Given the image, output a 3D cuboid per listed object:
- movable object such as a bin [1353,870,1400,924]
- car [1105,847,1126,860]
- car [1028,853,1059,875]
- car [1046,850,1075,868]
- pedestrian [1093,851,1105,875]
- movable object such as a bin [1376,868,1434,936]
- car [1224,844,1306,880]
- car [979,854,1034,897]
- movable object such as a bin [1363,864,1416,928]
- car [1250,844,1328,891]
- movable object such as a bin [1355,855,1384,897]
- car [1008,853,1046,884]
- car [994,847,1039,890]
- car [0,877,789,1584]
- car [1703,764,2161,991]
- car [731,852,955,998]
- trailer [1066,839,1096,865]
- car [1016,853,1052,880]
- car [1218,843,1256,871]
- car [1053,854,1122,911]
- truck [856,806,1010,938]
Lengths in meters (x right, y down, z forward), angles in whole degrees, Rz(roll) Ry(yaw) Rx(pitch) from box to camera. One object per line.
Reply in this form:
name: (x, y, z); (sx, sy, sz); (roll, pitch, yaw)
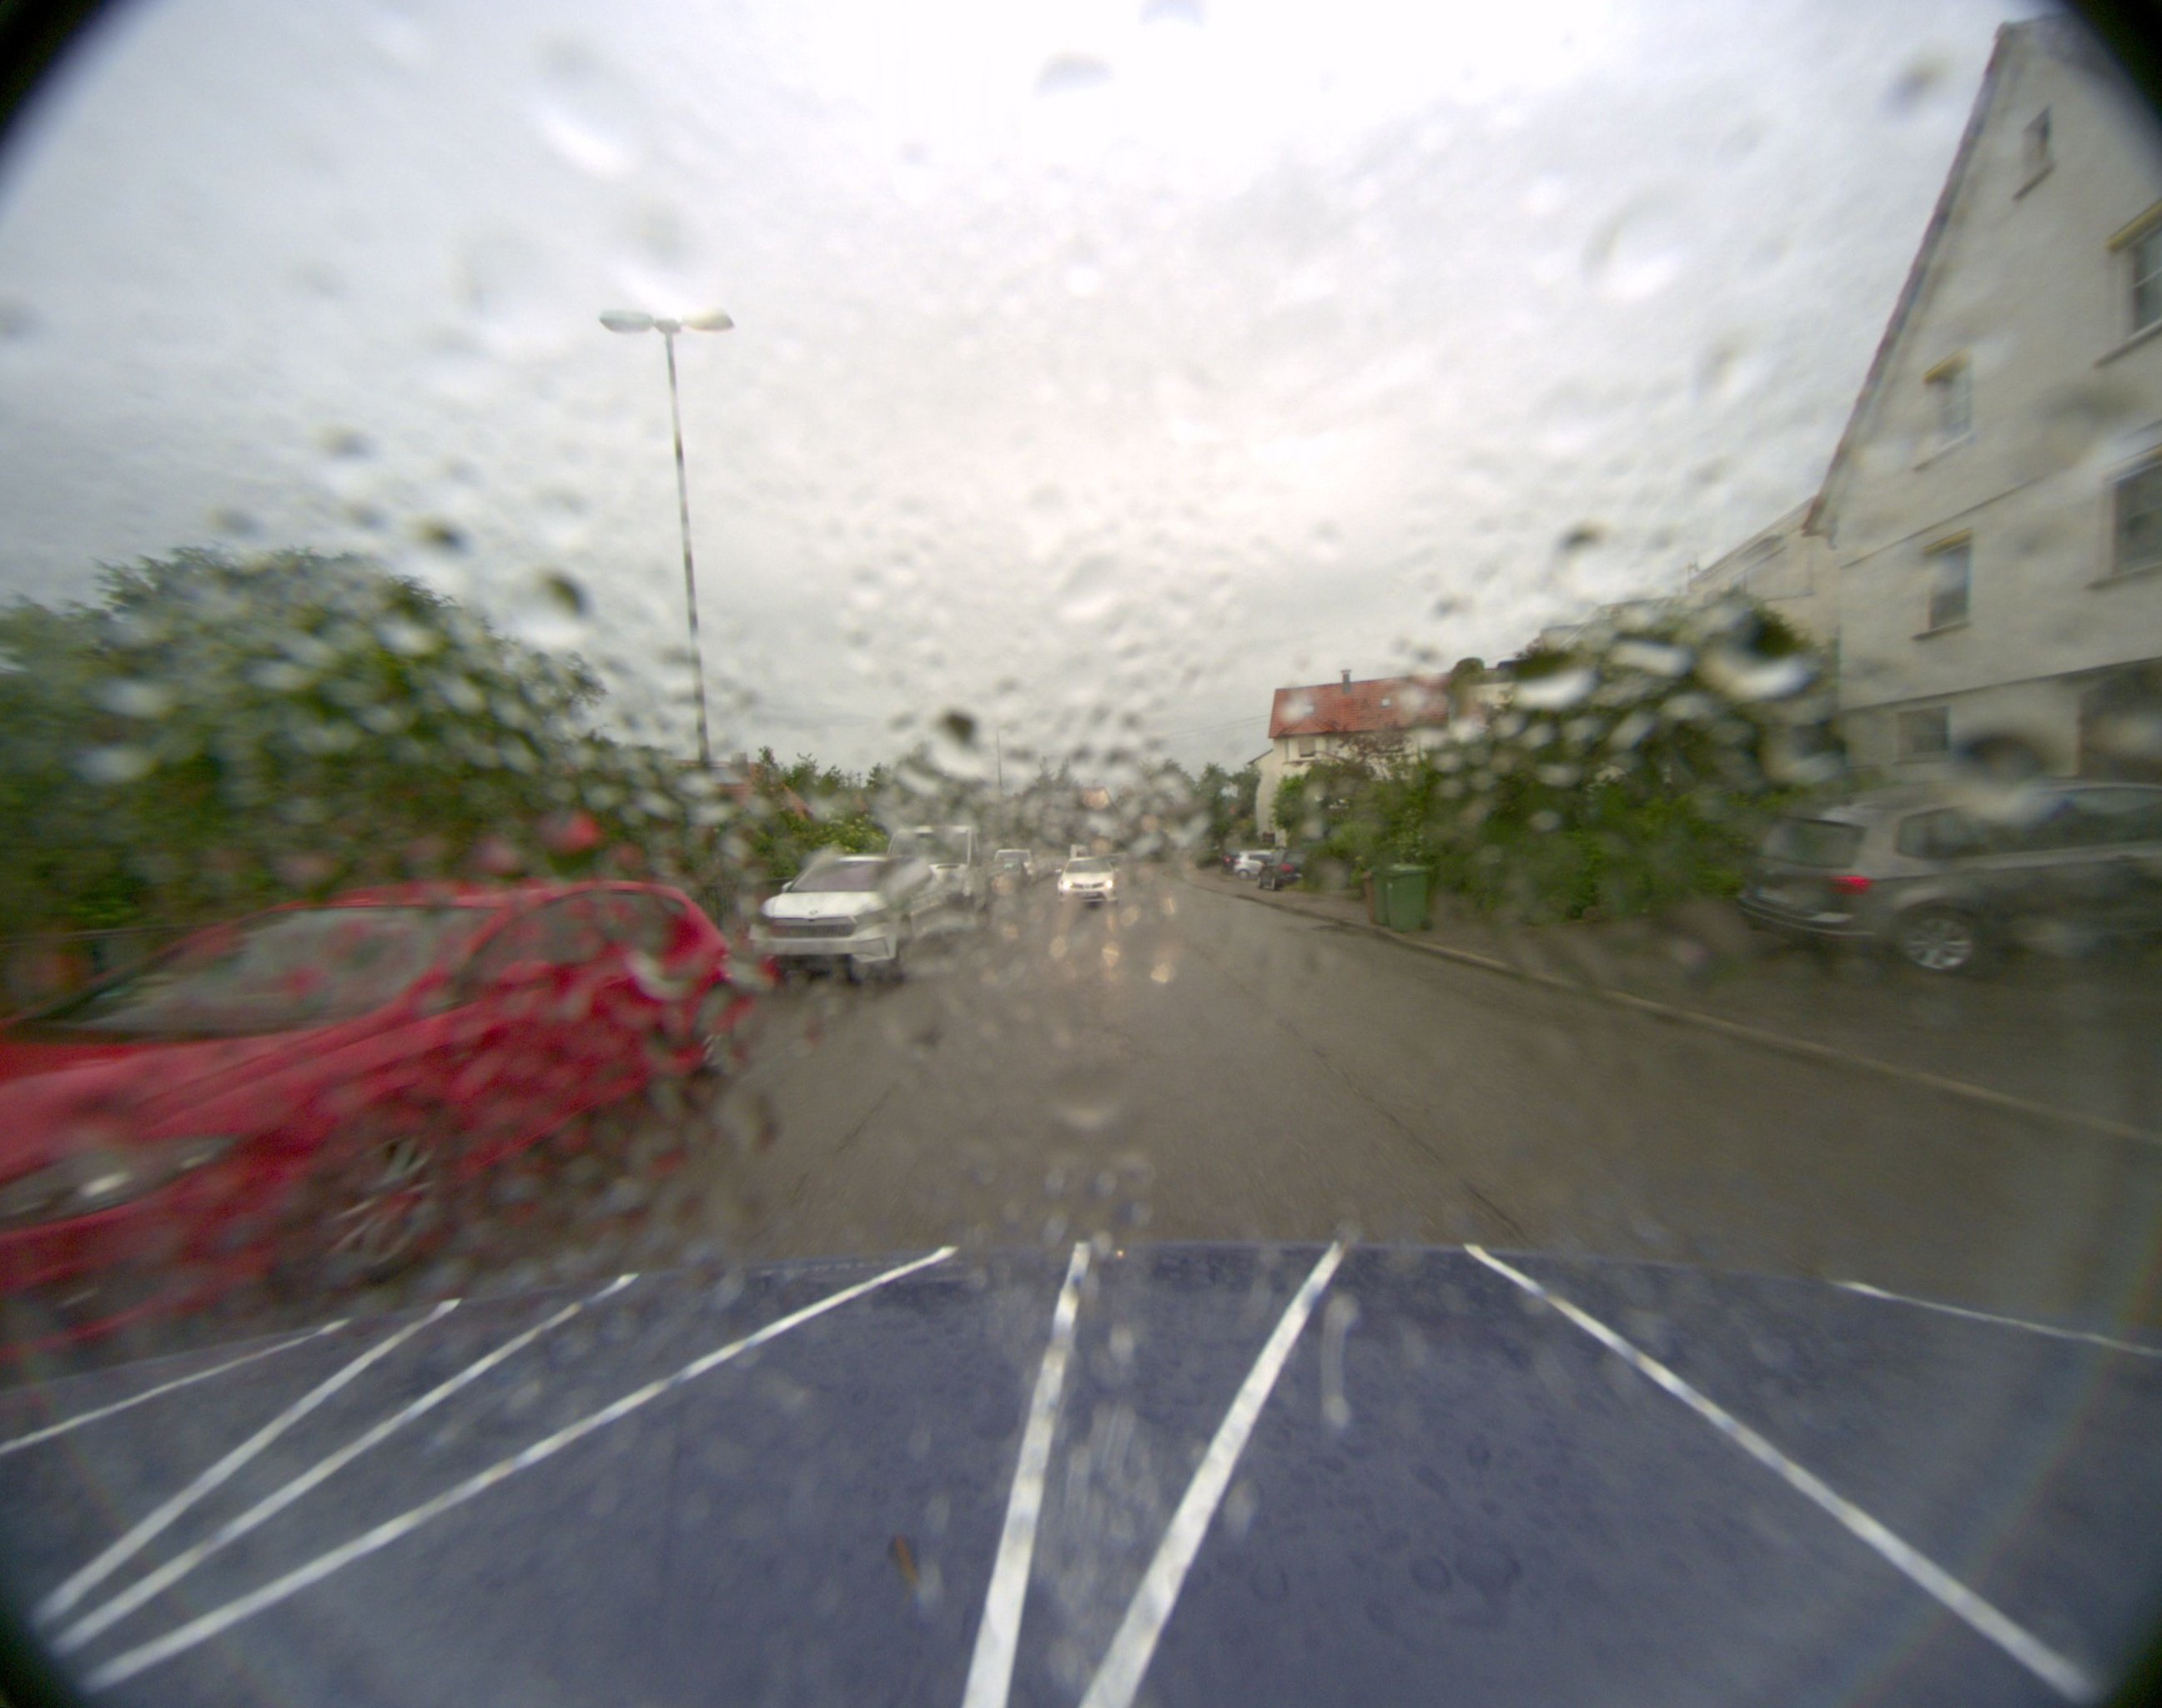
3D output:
movable object such as a bin: (5.466, 0.785, 14.070); (0.604, 0.923, 0.564); (-3, 1, -4)
car: (4.180, -0.038, 91.005); (1.635, 1.448, 3.705); (-1, 1, 17)
car: (-2.606, 0.695, 53.422); (1.739, 1.406, 3.852); (-1, 1, 3)
car: (-1.720, 0.395, 64.925); (1.796, 1.451, 4.790); (-1, 1, 6)
pedestrian: (1.204, 0.595, 50.782); (0.718, 1.626, 0.707); (-1, 1, 2)
movable object such as a bin: (5.401, 0.780, 12.690); (0.604, 1.057, 0.698); (-3, 1, -3)
car: (9.303, 0.376, 38.347); (3.831, 1.470, 1.805); (5, 3, 15)
car: (-2.971, 0.815, 30.947); (1.652, 1.554, 3.963); (-1, 1, 2)
movable object such as a bin: (5.431, 0.726, 13.419); (0.604, 1.057, 0.638); (-3, 1, -4)
car: (7.869, 0.446, 29.111); (1.807, 1.588, 4.417); (-1, 1, 1)
movable object such as a bin: (7.692, 0.588, 20.281); (0.698, 1.076, 0.710); (-1, 1, 20)
car: (-3.006, 0.759, 42.749); (1.648, 1.532, 4.353); (-1, 1, 2)
car: (-3.008, 0.622, 36.514); (1.854, 1.871, 4.909); (-1, 1, -2)
car: (-3.460, 0.970, 4.073); (1.836, 1.429, 4.985); (-1, 1, 0)
car: (8.767, 0.150, 7.107); (4.061, 1.682, 1.895); (-6, 1, 14)
car: (-3.133, 0.813, 11.109); (1.764, 1.595, 4.665); (-1, 1, 0)
trailer: (0.048, -0.273, 75.827); (1.952, 2.442, 5.438); (-1, 1, 10)
car: (-2.918, 0.729, 47.817); (1.820, 1.498, 4.724); (-1, 1, 2)
car: (8.834, 0.130, 43.289); (1.769, 1.368, 4.249); (-5, 1, 8)
car: (0.270, 0.807, 23.458); (1.863, 1.370, 4.180); (-3, 2, 2)
truck: (-3.302, 0.316, 18.622); (2.244, 2.616, 6.538); (-1, 1, 2)
